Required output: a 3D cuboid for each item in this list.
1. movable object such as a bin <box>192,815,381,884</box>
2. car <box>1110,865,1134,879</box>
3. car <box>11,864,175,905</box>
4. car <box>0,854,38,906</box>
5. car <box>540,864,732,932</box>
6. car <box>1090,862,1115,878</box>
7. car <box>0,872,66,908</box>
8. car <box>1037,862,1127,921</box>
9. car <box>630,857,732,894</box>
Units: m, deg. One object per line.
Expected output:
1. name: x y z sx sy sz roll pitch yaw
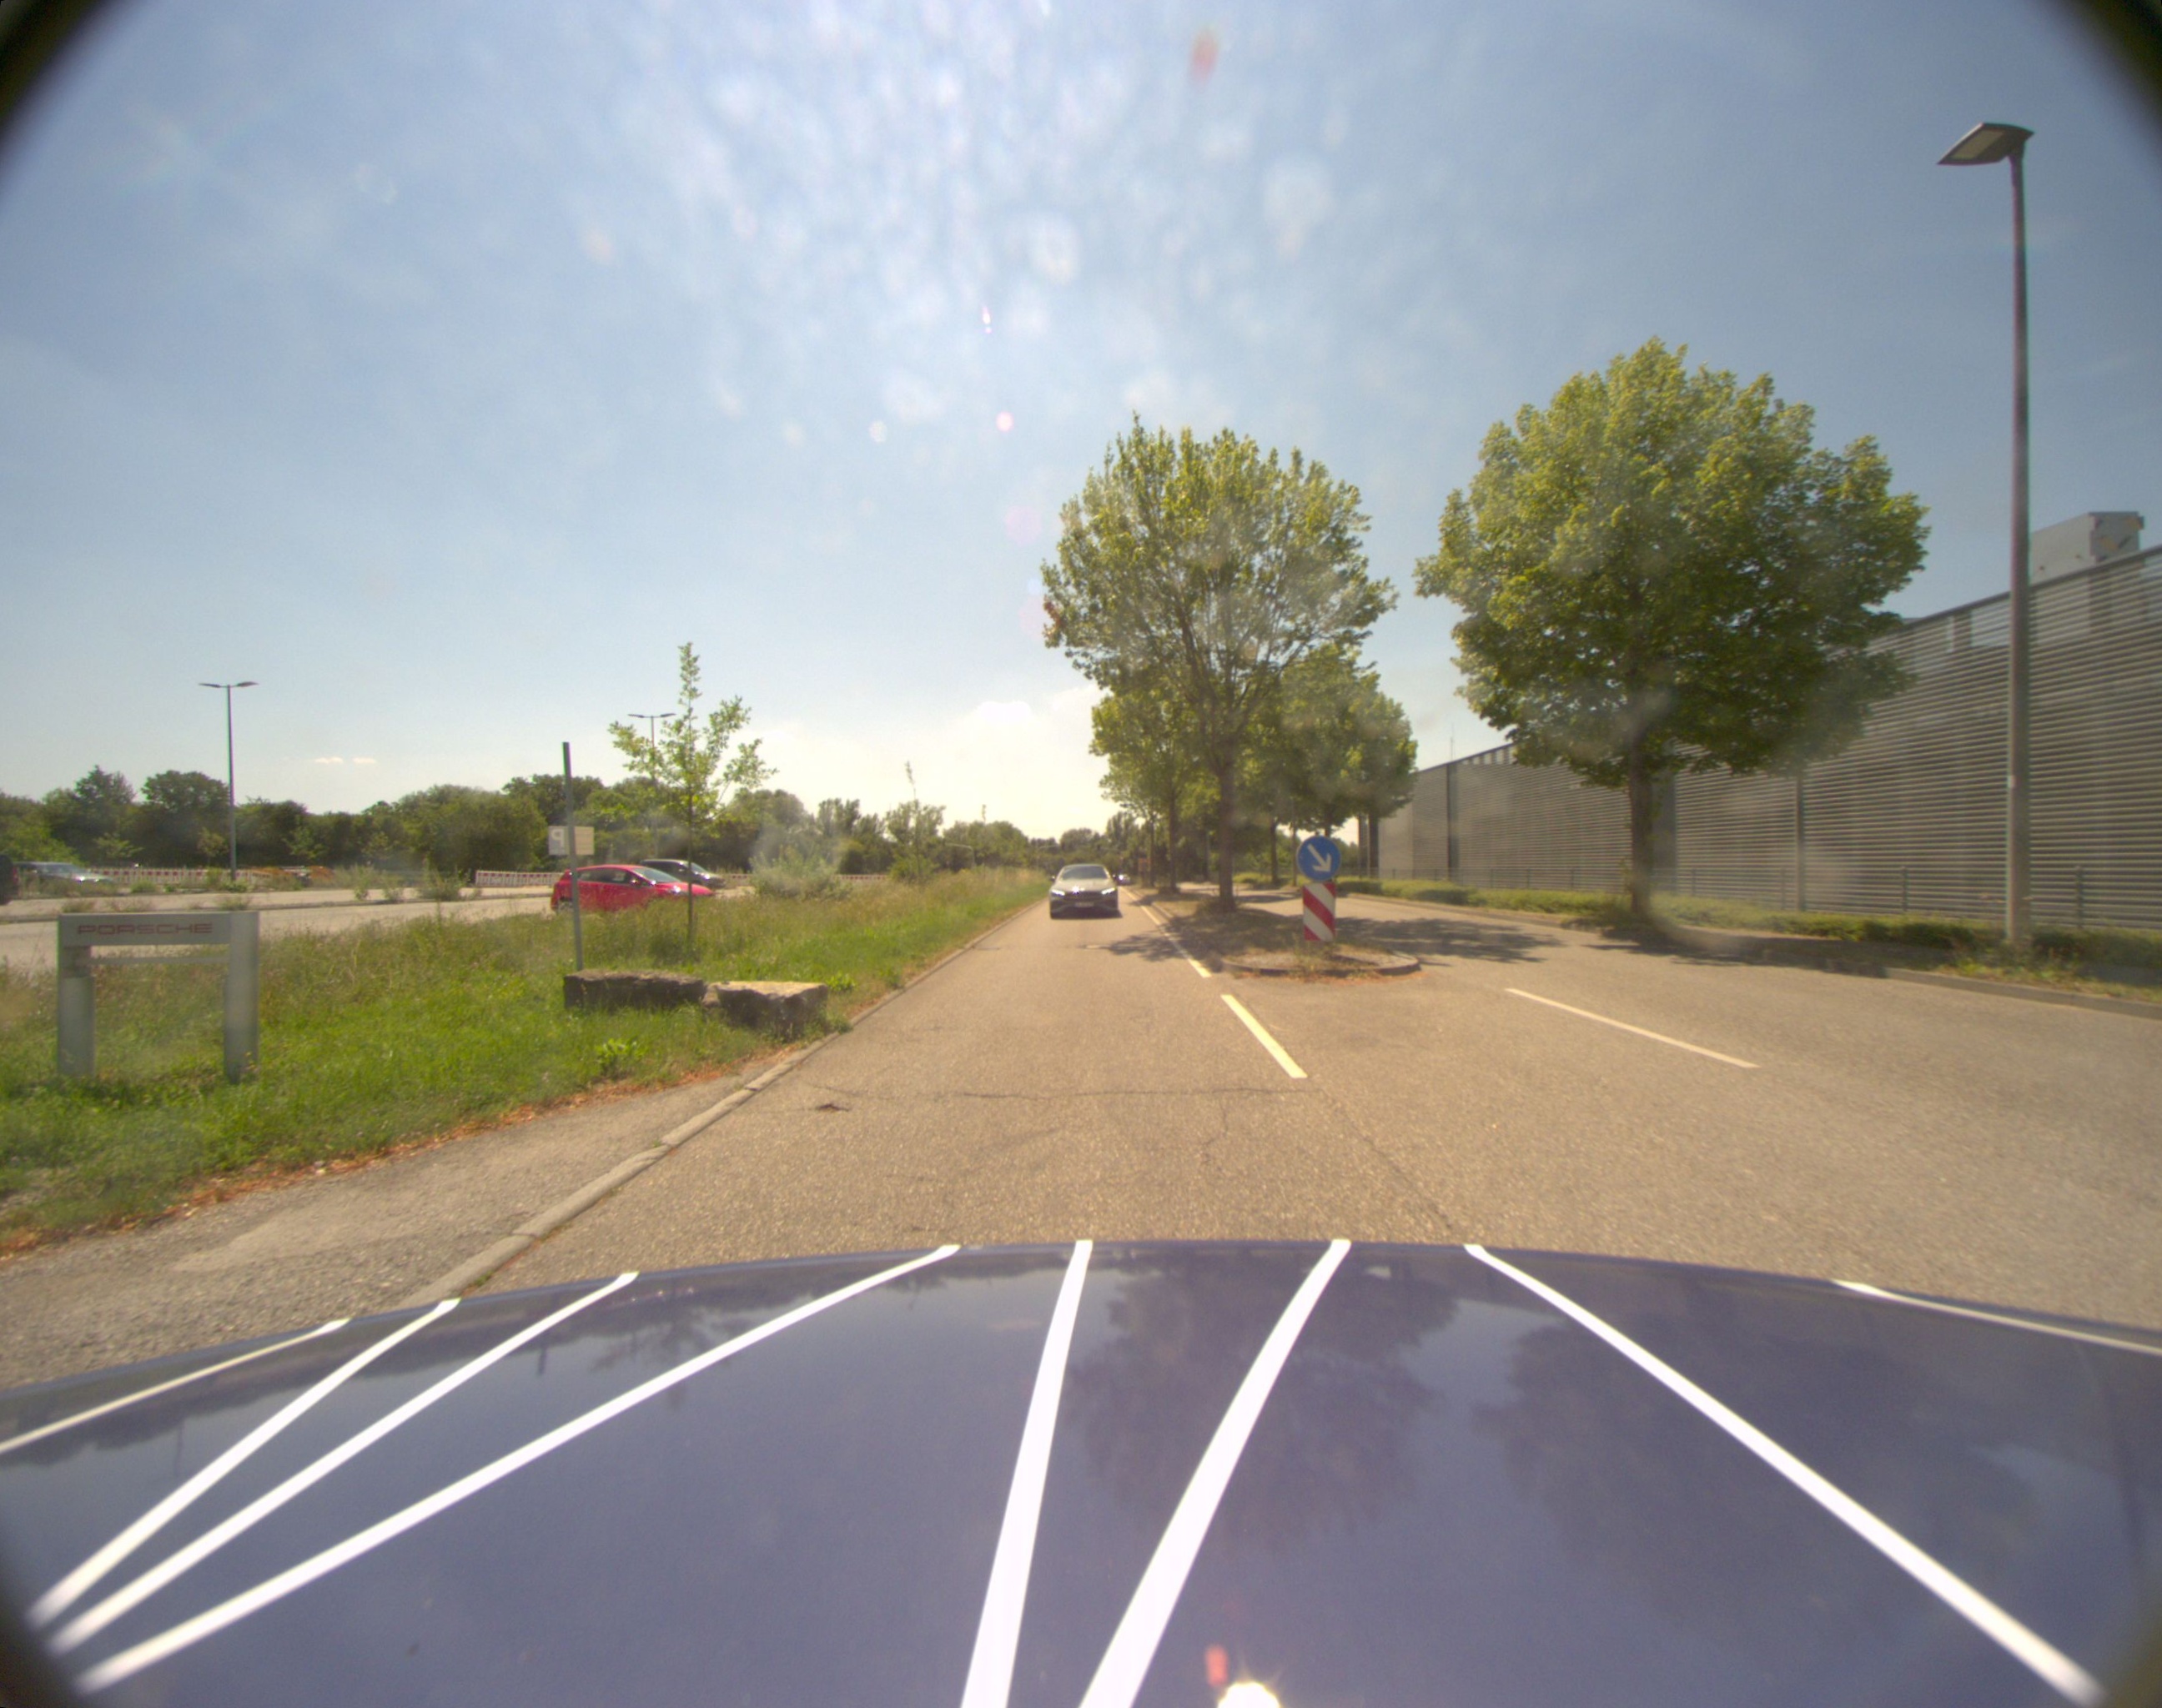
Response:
1. movable object such as a bin: -52.865 -0.148 50.966 8.122 4.018 2.981 3 -4 -34
2. car: 5.504 2.431 103.051 2.001 1.697 3.860 -4 0 -16
3. car: -43.249 1.368 33.377 4.001 1.629 1.999 2 -3 -10
4. car: -38.096 0.841 25.349 3.997 1.747 1.758 1 -1 -1
5. car: -11.783 1.129 20.321 3.996 1.713 1.927 0 0 1
6. car: 2.857 2.116 102.577 2.001 1.931 4.865 -4 0 -16
7. car: -43.932 1.423 30.268 4.001 1.411 1.720 2 -3 -10
8. car: -0.102 1.015 21.954 1.923 1.433 4.479 -3 -1 -8
9. car: -21.746 1.165 41.416 4.474 1.903 1.940 1 -2 0
